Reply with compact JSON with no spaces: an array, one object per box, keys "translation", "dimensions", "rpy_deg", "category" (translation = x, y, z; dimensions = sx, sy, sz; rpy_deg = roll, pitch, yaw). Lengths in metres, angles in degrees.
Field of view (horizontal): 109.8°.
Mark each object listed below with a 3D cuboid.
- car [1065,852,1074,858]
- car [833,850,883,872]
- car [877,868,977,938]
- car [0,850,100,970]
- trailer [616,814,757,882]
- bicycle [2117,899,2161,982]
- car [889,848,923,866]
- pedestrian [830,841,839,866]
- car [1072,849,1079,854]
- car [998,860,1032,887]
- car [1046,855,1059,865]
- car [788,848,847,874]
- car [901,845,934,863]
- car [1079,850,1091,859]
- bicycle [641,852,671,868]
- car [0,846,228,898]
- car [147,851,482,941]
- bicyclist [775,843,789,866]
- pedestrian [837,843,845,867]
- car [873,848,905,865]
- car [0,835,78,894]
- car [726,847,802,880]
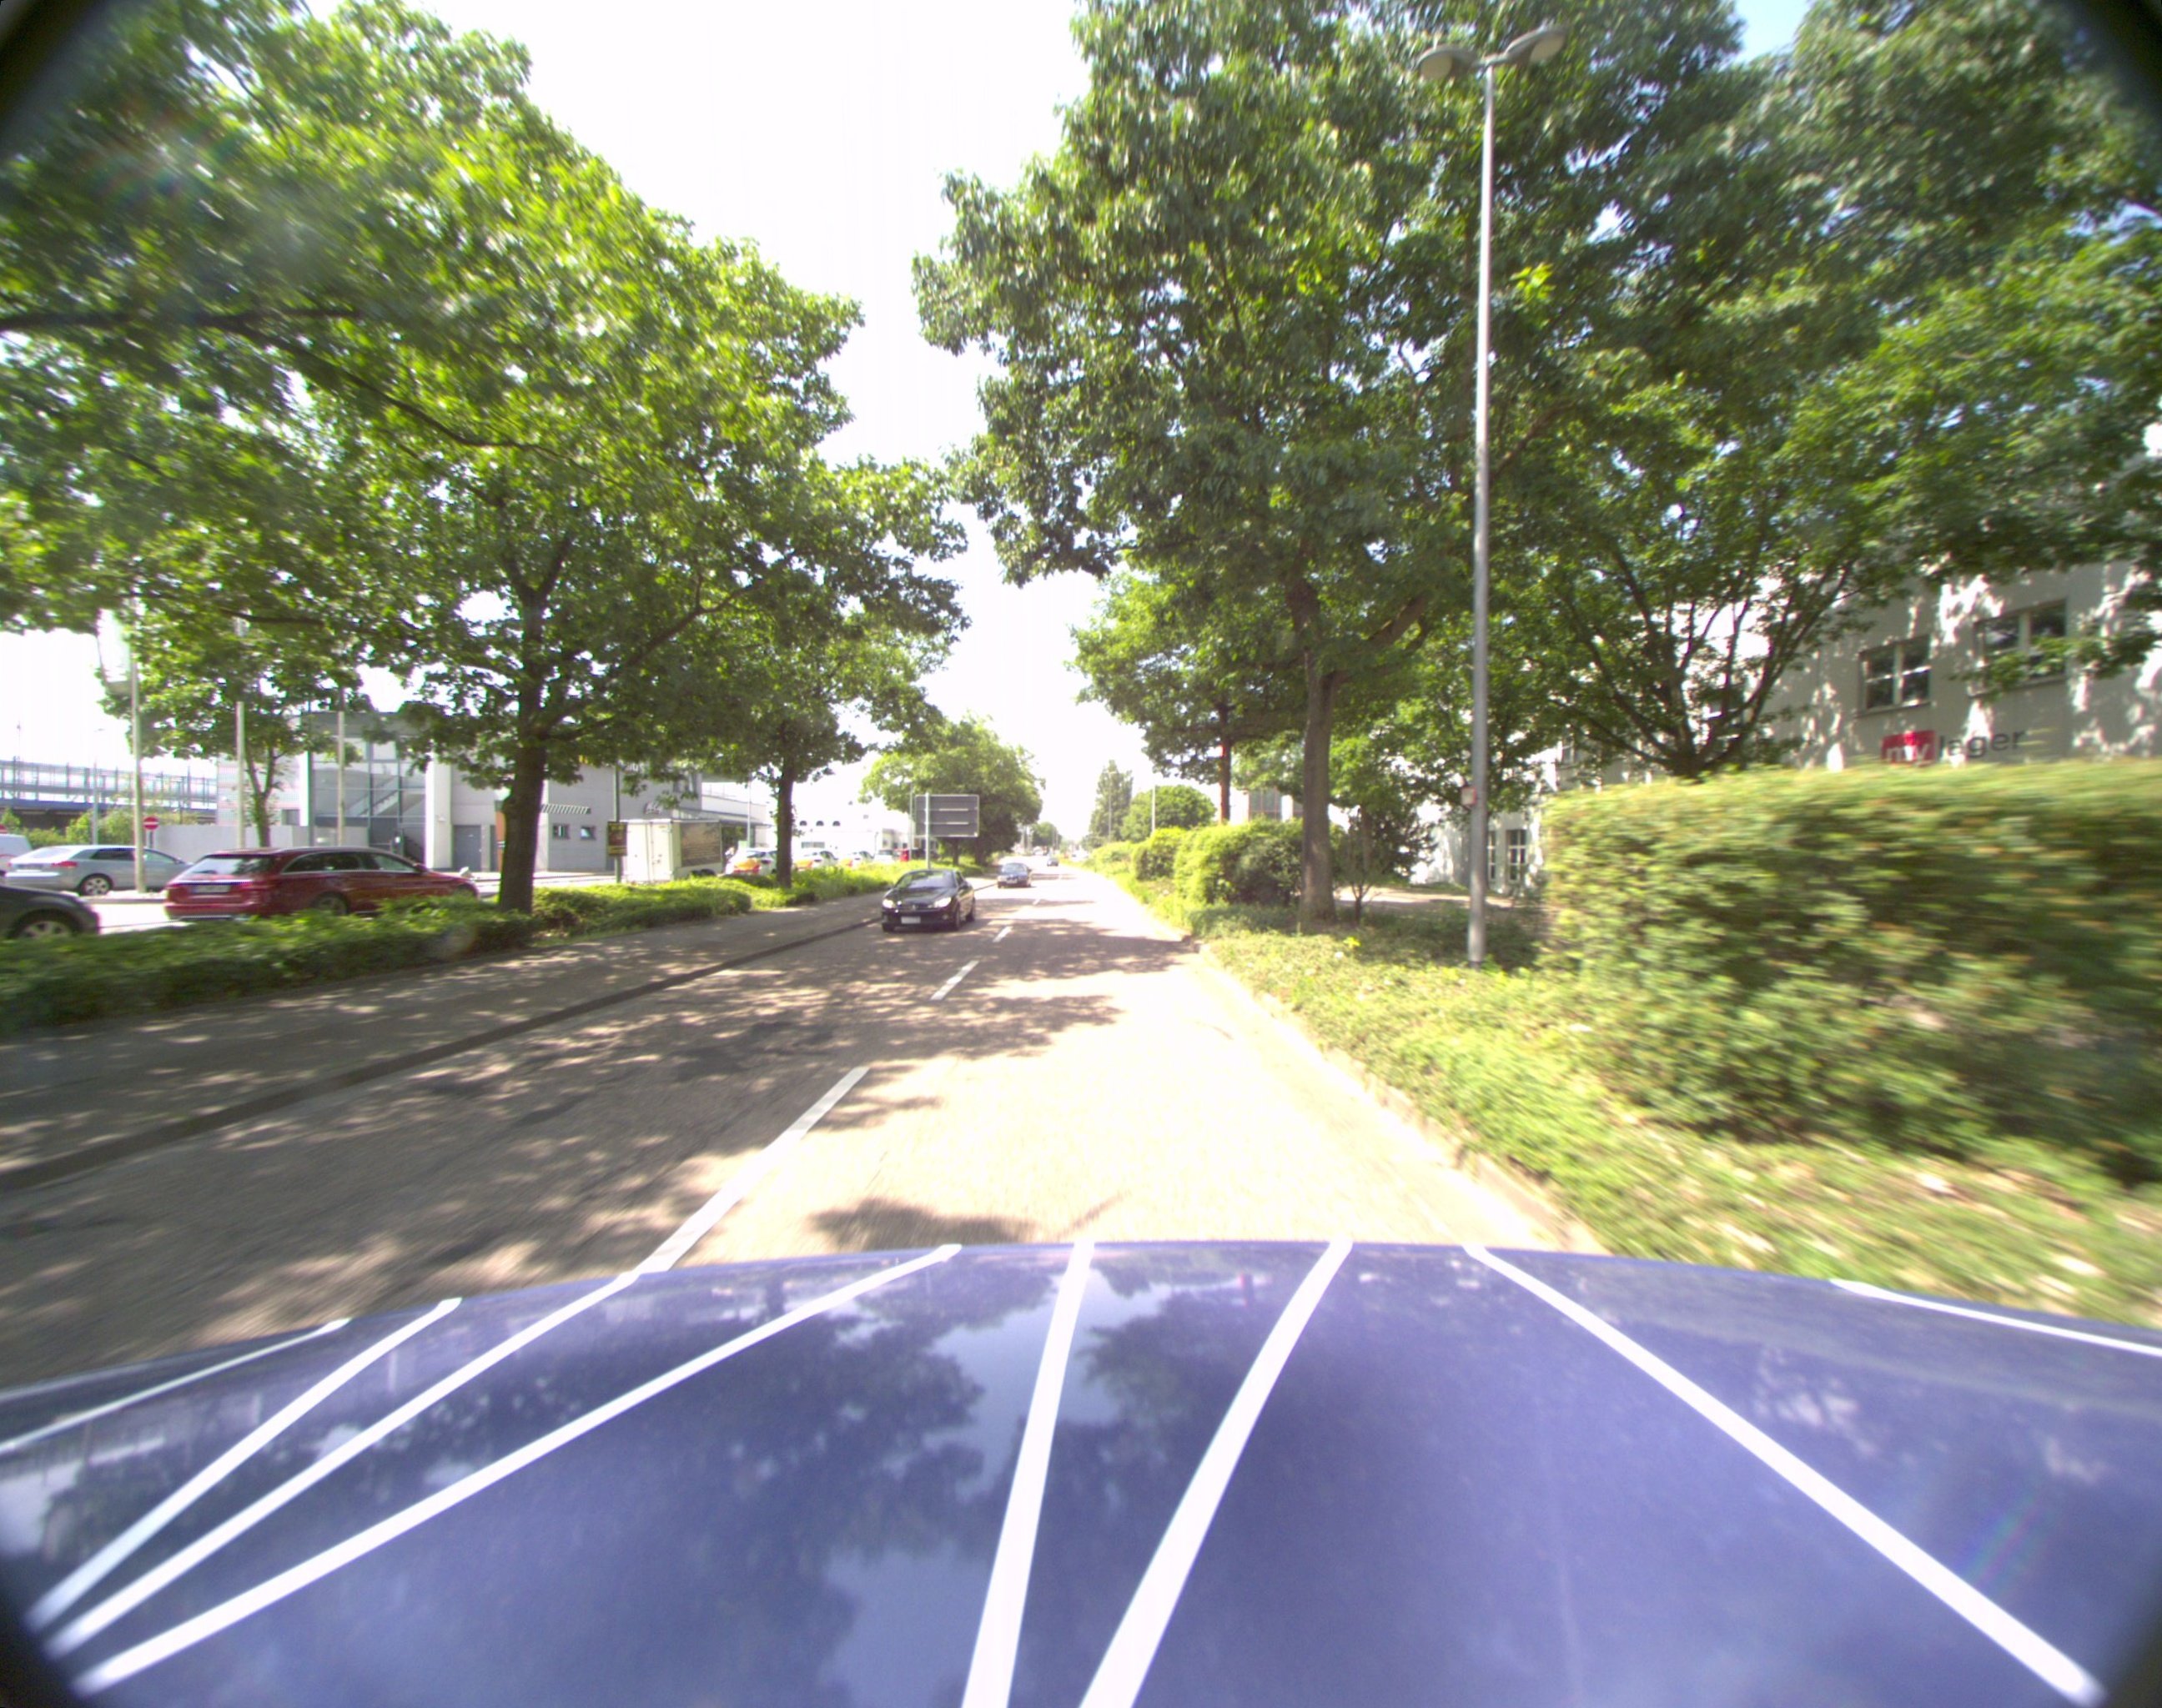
[{"translation":[-2.645,0.287,174.929],"dimensions":[1.734,1.316,4.147],"rpy_deg":[1,1,-5],"category":"car"},{"translation":[-13.228,0.388,45.267],"dimensions":[1.622,1.245,3.867],"rpy_deg":[-1,1,4],"category":"car"},{"translation":[-3.496,1.066,17.875],"dimensions":[1.641,1.349,3.499],"rpy_deg":[-1,1,0],"category":"car"},{"translation":[-13.158,0.643,7.563],"dimensions":[1.705,1.372,3.905],"rpy_deg":[0,0,0],"category":"car"},{"translation":[-13.195,-0.180,25.901],"dimensions":[1.704,2.043,5.484],"rpy_deg":[0,0,3],"category":"trailer"},{"translation":[15.159,1.214,10.041],"dimensions":[0.522,1.113,1.761],"rpy_deg":[-1,1,0],"category":"bicycle"},{"translation":[-12.683,0.215,55.199],"dimensions":[1.623,1.245,3.762],"rpy_deg":[-1,1,-1],"category":"car"},{"translation":[-19.406,-0.040,59.803],"dimensions":[0.583,1.910,0.409],"rpy_deg":[1,1,0],"category":"pedestrian"},{"translation":[-1.663,-0.811,228.829],"dimensions":[1.727,1.408,4.244],"rpy_deg":[2,0,-5],"category":"car"},{"translation":[-3.648,1.113,41.571],"dimensions":[1.712,1.315,3.955],"rpy_deg":[-2,-2,-7],"category":"car"},{"translation":[-4.120,0.904,110.230],"dimensions":[1.868,1.390,3.998],"rpy_deg":[1,0,-3],"category":"car"},{"translation":[-12.889,0.306,37.414],"dimensions":[1.597,1.151,3.737],"rpy_deg":[-1,1,0],"category":"car"},{"translation":[-12.908,-0.014,60.343],"dimensions":[1.623,1.246,4.198],"rpy_deg":[-2,1,1],"category":"car"},{"translation":[0.670,0.054,125.672],"dimensions":[1.632,1.368,3.882],"rpy_deg":[2,0,-3],"category":"car"},{"translation":[-25.523,0.353,45.660],"dimensions":[0.590,0.974,2.102],"rpy_deg":[1,0,2],"category":"bicycle"},{"translation":[-26.752,0.445,21.206],"dimensions":[1.587,1.331,3.776],"rpy_deg":[0,0,1],"category":"car"},{"translation":[-13.412,0.636,13.772],"dimensions":[1.705,1.372,4.323],"rpy_deg":[0,0,0],"category":"car"},{"translation":[-23.191,0.024,58.953],"dimensions":[0.780,1.794,0.864],"rpy_deg":[1,1,-2],"category":"bicyclist"},{"translation":[-18.849,0.070,59.749],"dimensions":[0.467,1.910,0.534],"rpy_deg":[1,1,0],"category":"pedestrian"},{"translation":[-12.857,0.147,50.990],"dimensions":[1.511,1.116,2.855],"rpy_deg":[-1,1,-1],"category":"car"},{"translation":[-33.617,0.303,22.483],"dimensions":[1.714,1.795,4.631],"rpy_deg":[1,0,0],"category":"car"},{"translation":[-12.928,0.359,31.194],"dimensions":[1.623,1.245,3.629],"rpy_deg":[-1,1,-1],"category":"car"}]
